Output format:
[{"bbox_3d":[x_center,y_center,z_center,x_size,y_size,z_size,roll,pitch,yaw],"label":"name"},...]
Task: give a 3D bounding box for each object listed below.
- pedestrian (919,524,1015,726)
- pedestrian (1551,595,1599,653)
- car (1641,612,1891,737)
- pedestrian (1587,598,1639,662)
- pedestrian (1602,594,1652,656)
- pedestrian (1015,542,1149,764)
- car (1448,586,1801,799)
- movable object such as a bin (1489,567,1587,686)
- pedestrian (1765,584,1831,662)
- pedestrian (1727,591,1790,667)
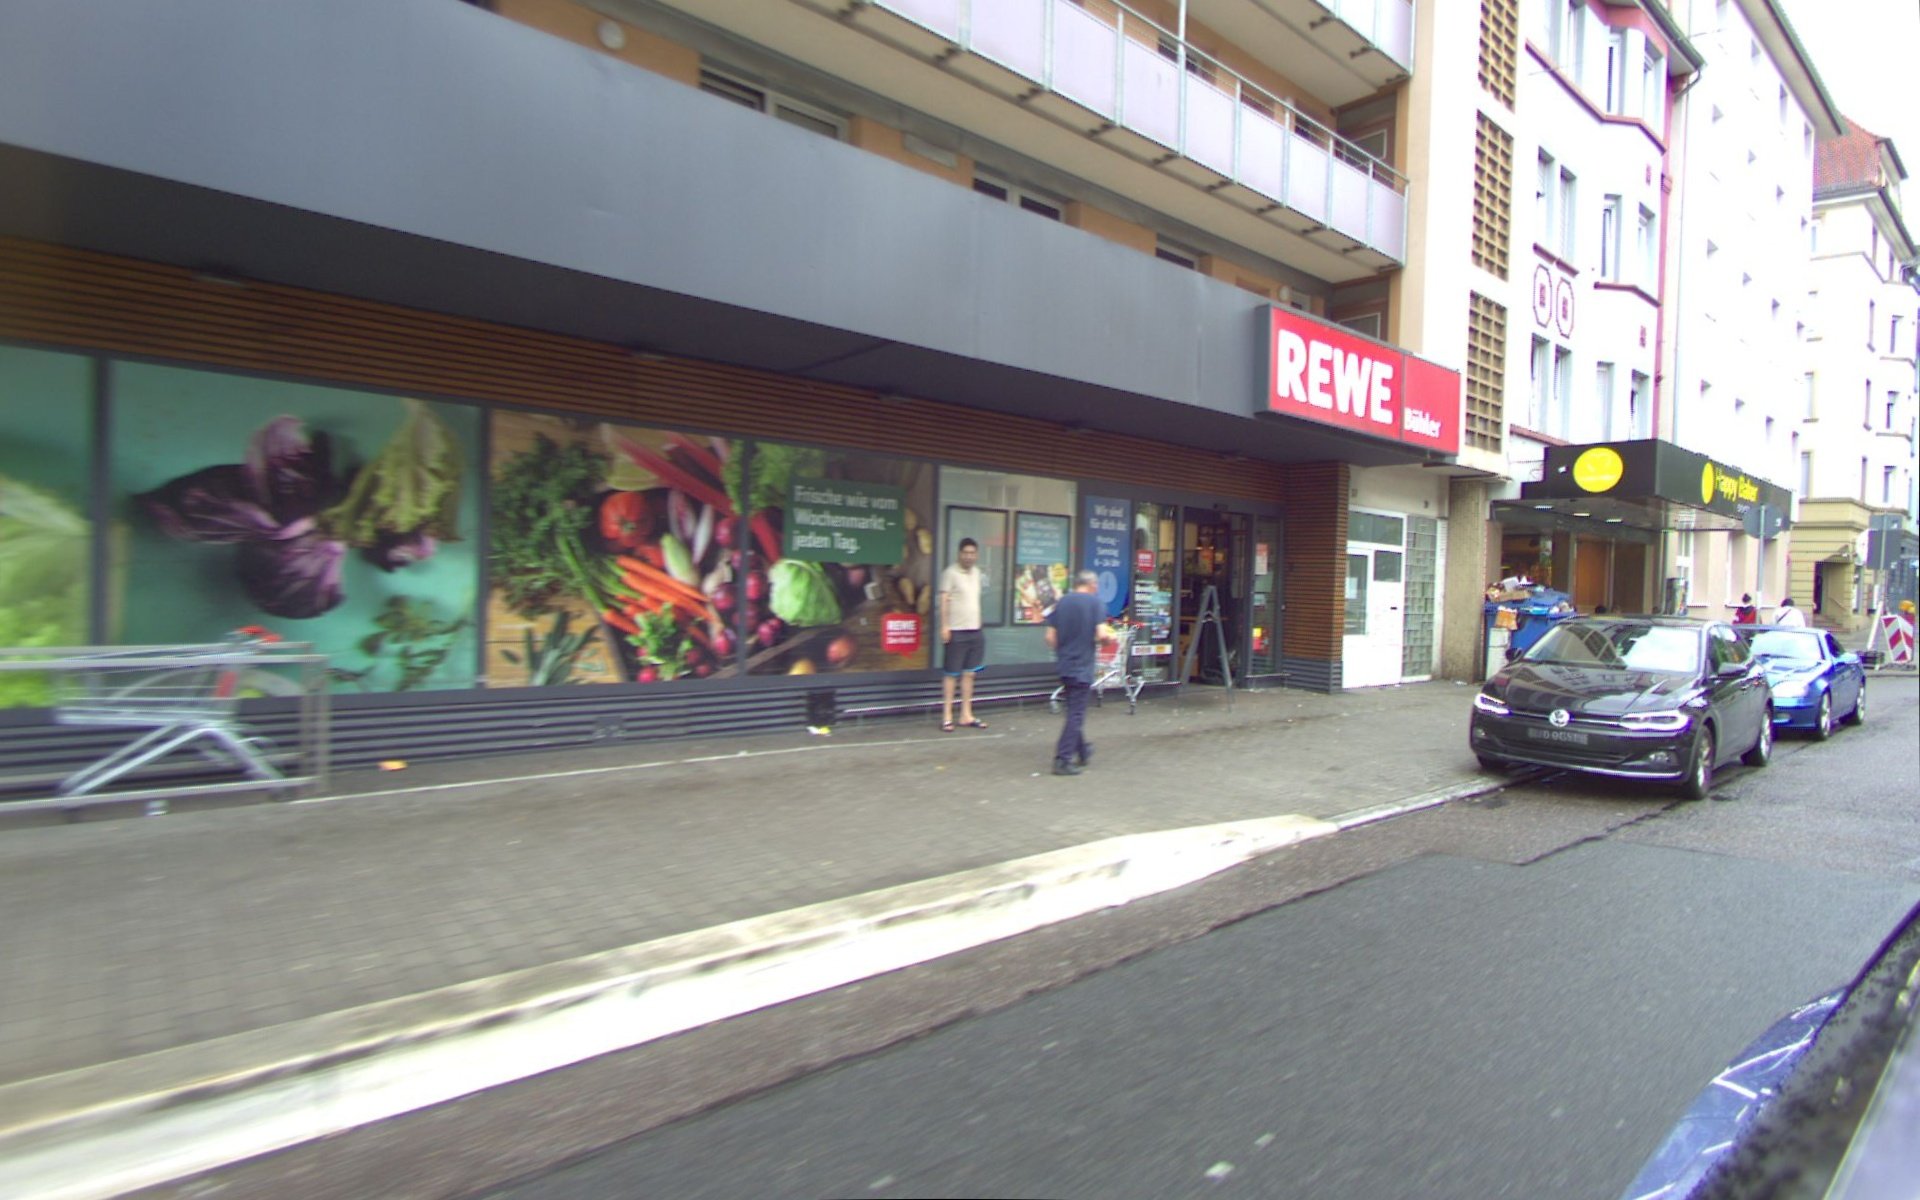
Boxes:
[{"bbox_3d":[0.062,0.220,9.857,0.714,1.882,0.597,0,1,-37],"label":"pedestrian"},{"bbox_3d":[14.157,0.541,23.286,0.647,1.273,0.703,1,3,-40],"label":"pedestrian"},{"bbox_3d":[10.381,0.841,12.962,3.699,1.327,1.738,0,-1,-39],"label":"car"},{"bbox_3d":[13.735,0.627,21.284,0.645,1.273,0.625,1,3,-33],"label":"pedestrian"},{"bbox_3d":[14.519,0.532,22.032,0.647,1.273,0.703,1,3,-40],"label":"pedestrian"},{"bbox_3d":[0.973,0.408,8.090,0.735,1.672,0.627,5,-1,-39],"label":"pedestrian"},{"bbox_3d":[6.274,0.699,9.384,3.911,1.567,1.733,1,-1,-41],"label":"car"},{"bbox_3d":[9.356,0.392,16.368,1.274,1.815,1.000,-1,2,-43],"label":"movable object such as a bin"},{"bbox_3d":[18.782,0.499,22.693,0.767,1.667,0.705,2,2,-6],"label":"pedestrian"},{"bbox_3d":[18.484,0.665,23.446,0.767,1.667,0.705,2,2,-6],"label":"pedestrian"}]
